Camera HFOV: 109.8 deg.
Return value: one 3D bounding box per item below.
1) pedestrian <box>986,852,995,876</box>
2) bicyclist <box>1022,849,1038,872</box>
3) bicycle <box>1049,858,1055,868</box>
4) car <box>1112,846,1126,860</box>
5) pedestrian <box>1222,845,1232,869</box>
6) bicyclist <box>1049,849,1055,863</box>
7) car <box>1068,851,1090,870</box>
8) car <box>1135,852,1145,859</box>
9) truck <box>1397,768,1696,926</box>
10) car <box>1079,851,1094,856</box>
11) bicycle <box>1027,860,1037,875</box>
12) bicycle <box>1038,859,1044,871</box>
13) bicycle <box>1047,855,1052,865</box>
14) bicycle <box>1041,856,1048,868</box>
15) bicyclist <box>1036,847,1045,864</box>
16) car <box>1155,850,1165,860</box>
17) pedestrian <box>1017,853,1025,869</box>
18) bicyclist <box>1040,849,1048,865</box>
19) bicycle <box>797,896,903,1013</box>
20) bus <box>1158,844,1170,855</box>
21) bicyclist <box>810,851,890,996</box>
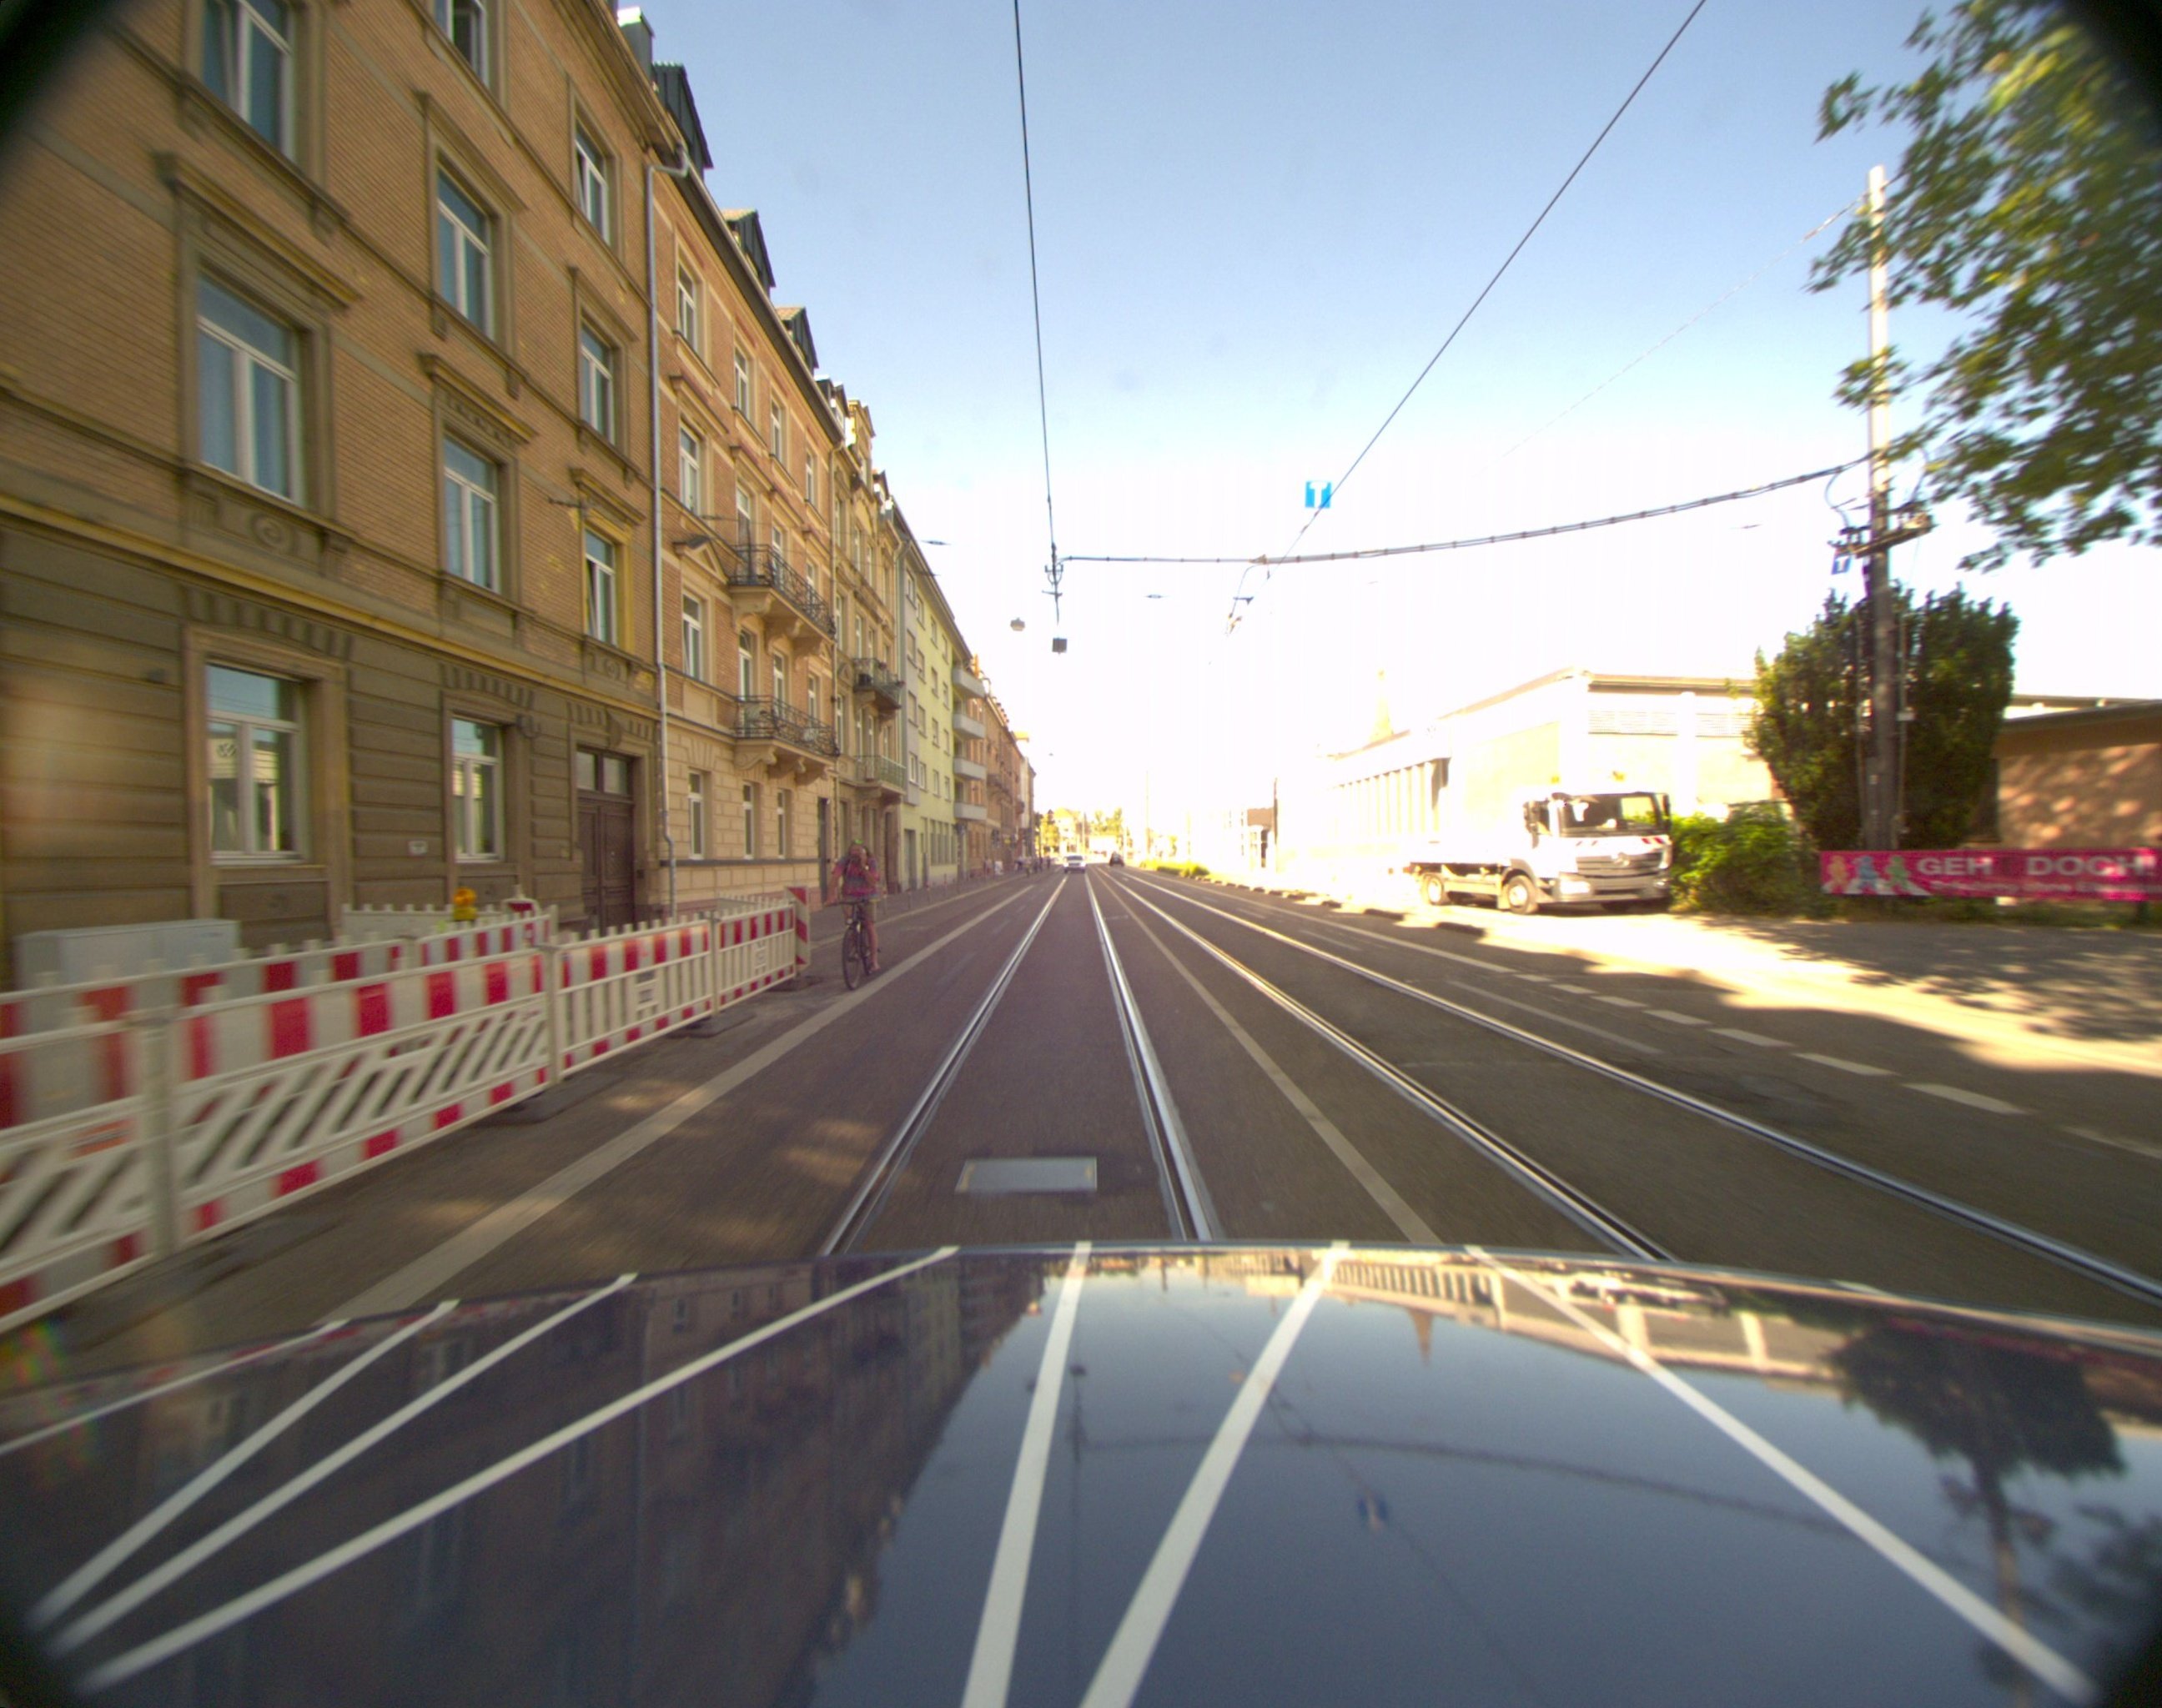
[{"bbox_3d":[-6.434,0.733,54.139,0.554,1.691,0.473,1,1,0],"label":"pedestrian"},{"bbox_3d":[-3.925,0.510,58.826,0.681,1.674,1.122,-2,1,29],"label":"bicyclist"},{"bbox_3d":[-3.391,1.018,89.332,0.533,1.111,1.933,-2,1,0],"label":"bicycle"},{"bbox_3d":[5.074,-0.159,102.010,1.763,1.687,4.143,-3,1,1],"label":"car"},{"bbox_3d":[11.129,0.199,57.852,0.528,1.755,1.051,-3,1,0],"label":"pedestrian"},{"bbox_3d":[-3.432,0.276,89.370,0.551,1.604,0.952,-3,1,-1],"label":"bicyclist"},{"bbox_3d":[-0.146,0.605,68.767,1.869,1.635,4.397,-1,0,0],"label":"car"},{"bbox_3d":[12.848,0.265,165.593,1.807,1.424,4.540,-3,1,1],"label":"car"},{"bbox_3d":[9.993,-0.167,17.287,2.545,2.814,6.373,-3,1,-4],"label":"truck"},{"bbox_3d":[1.680,-0.106,233.161,1.917,1.449,4.587,-2,1,-42],"label":"car"},{"bbox_3d":[-3.801,1.062,58.964,0.533,1.111,1.934,-3,-1,0],"label":"bicycle"},{"bbox_3d":[-3.761,1.001,71.538,0.387,1.063,1.934,-1,0,2],"label":"bicycle"},{"bbox_3d":[-4.129,0.774,98.566,0.533,1.152,1.865,-2,1,-1],"label":"bicycle"},{"bbox_3d":[-3.692,0.818,76.941,0.533,1.111,1.933,-1,1,1],"label":"bicycle"},{"bbox_3d":[-3.819,0.169,71.464,0.784,1.584,0.886,-1,1,3],"label":"bicyclist"},{"bbox_3d":[14.761,0.138,141.506,1.803,1.709,4.417,0,1,6],"label":"car"},{"bbox_3d":[-6.336,0.735,80.511,0.800,1.596,0.652,-1,1,2],"label":"pedestrian"},{"bbox_3d":[-3.728,0.326,76.593,0.624,1.604,0.981,-2,1,7],"label":"bicyclist"},{"bbox_3d":[-2.880,1.192,9.806,0.683,1.108,2.705,-3,1,-4],"label":"bicycle"},{"bbox_3d":[28.397,-1.599,258.263,2.846,3.104,11.825,-2,2,12],"label":"bus"},{"bbox_3d":[-2.883,0.821,9.568,0.669,1.687,1.042,-3,1,-4],"label":"bicyclist"}]
